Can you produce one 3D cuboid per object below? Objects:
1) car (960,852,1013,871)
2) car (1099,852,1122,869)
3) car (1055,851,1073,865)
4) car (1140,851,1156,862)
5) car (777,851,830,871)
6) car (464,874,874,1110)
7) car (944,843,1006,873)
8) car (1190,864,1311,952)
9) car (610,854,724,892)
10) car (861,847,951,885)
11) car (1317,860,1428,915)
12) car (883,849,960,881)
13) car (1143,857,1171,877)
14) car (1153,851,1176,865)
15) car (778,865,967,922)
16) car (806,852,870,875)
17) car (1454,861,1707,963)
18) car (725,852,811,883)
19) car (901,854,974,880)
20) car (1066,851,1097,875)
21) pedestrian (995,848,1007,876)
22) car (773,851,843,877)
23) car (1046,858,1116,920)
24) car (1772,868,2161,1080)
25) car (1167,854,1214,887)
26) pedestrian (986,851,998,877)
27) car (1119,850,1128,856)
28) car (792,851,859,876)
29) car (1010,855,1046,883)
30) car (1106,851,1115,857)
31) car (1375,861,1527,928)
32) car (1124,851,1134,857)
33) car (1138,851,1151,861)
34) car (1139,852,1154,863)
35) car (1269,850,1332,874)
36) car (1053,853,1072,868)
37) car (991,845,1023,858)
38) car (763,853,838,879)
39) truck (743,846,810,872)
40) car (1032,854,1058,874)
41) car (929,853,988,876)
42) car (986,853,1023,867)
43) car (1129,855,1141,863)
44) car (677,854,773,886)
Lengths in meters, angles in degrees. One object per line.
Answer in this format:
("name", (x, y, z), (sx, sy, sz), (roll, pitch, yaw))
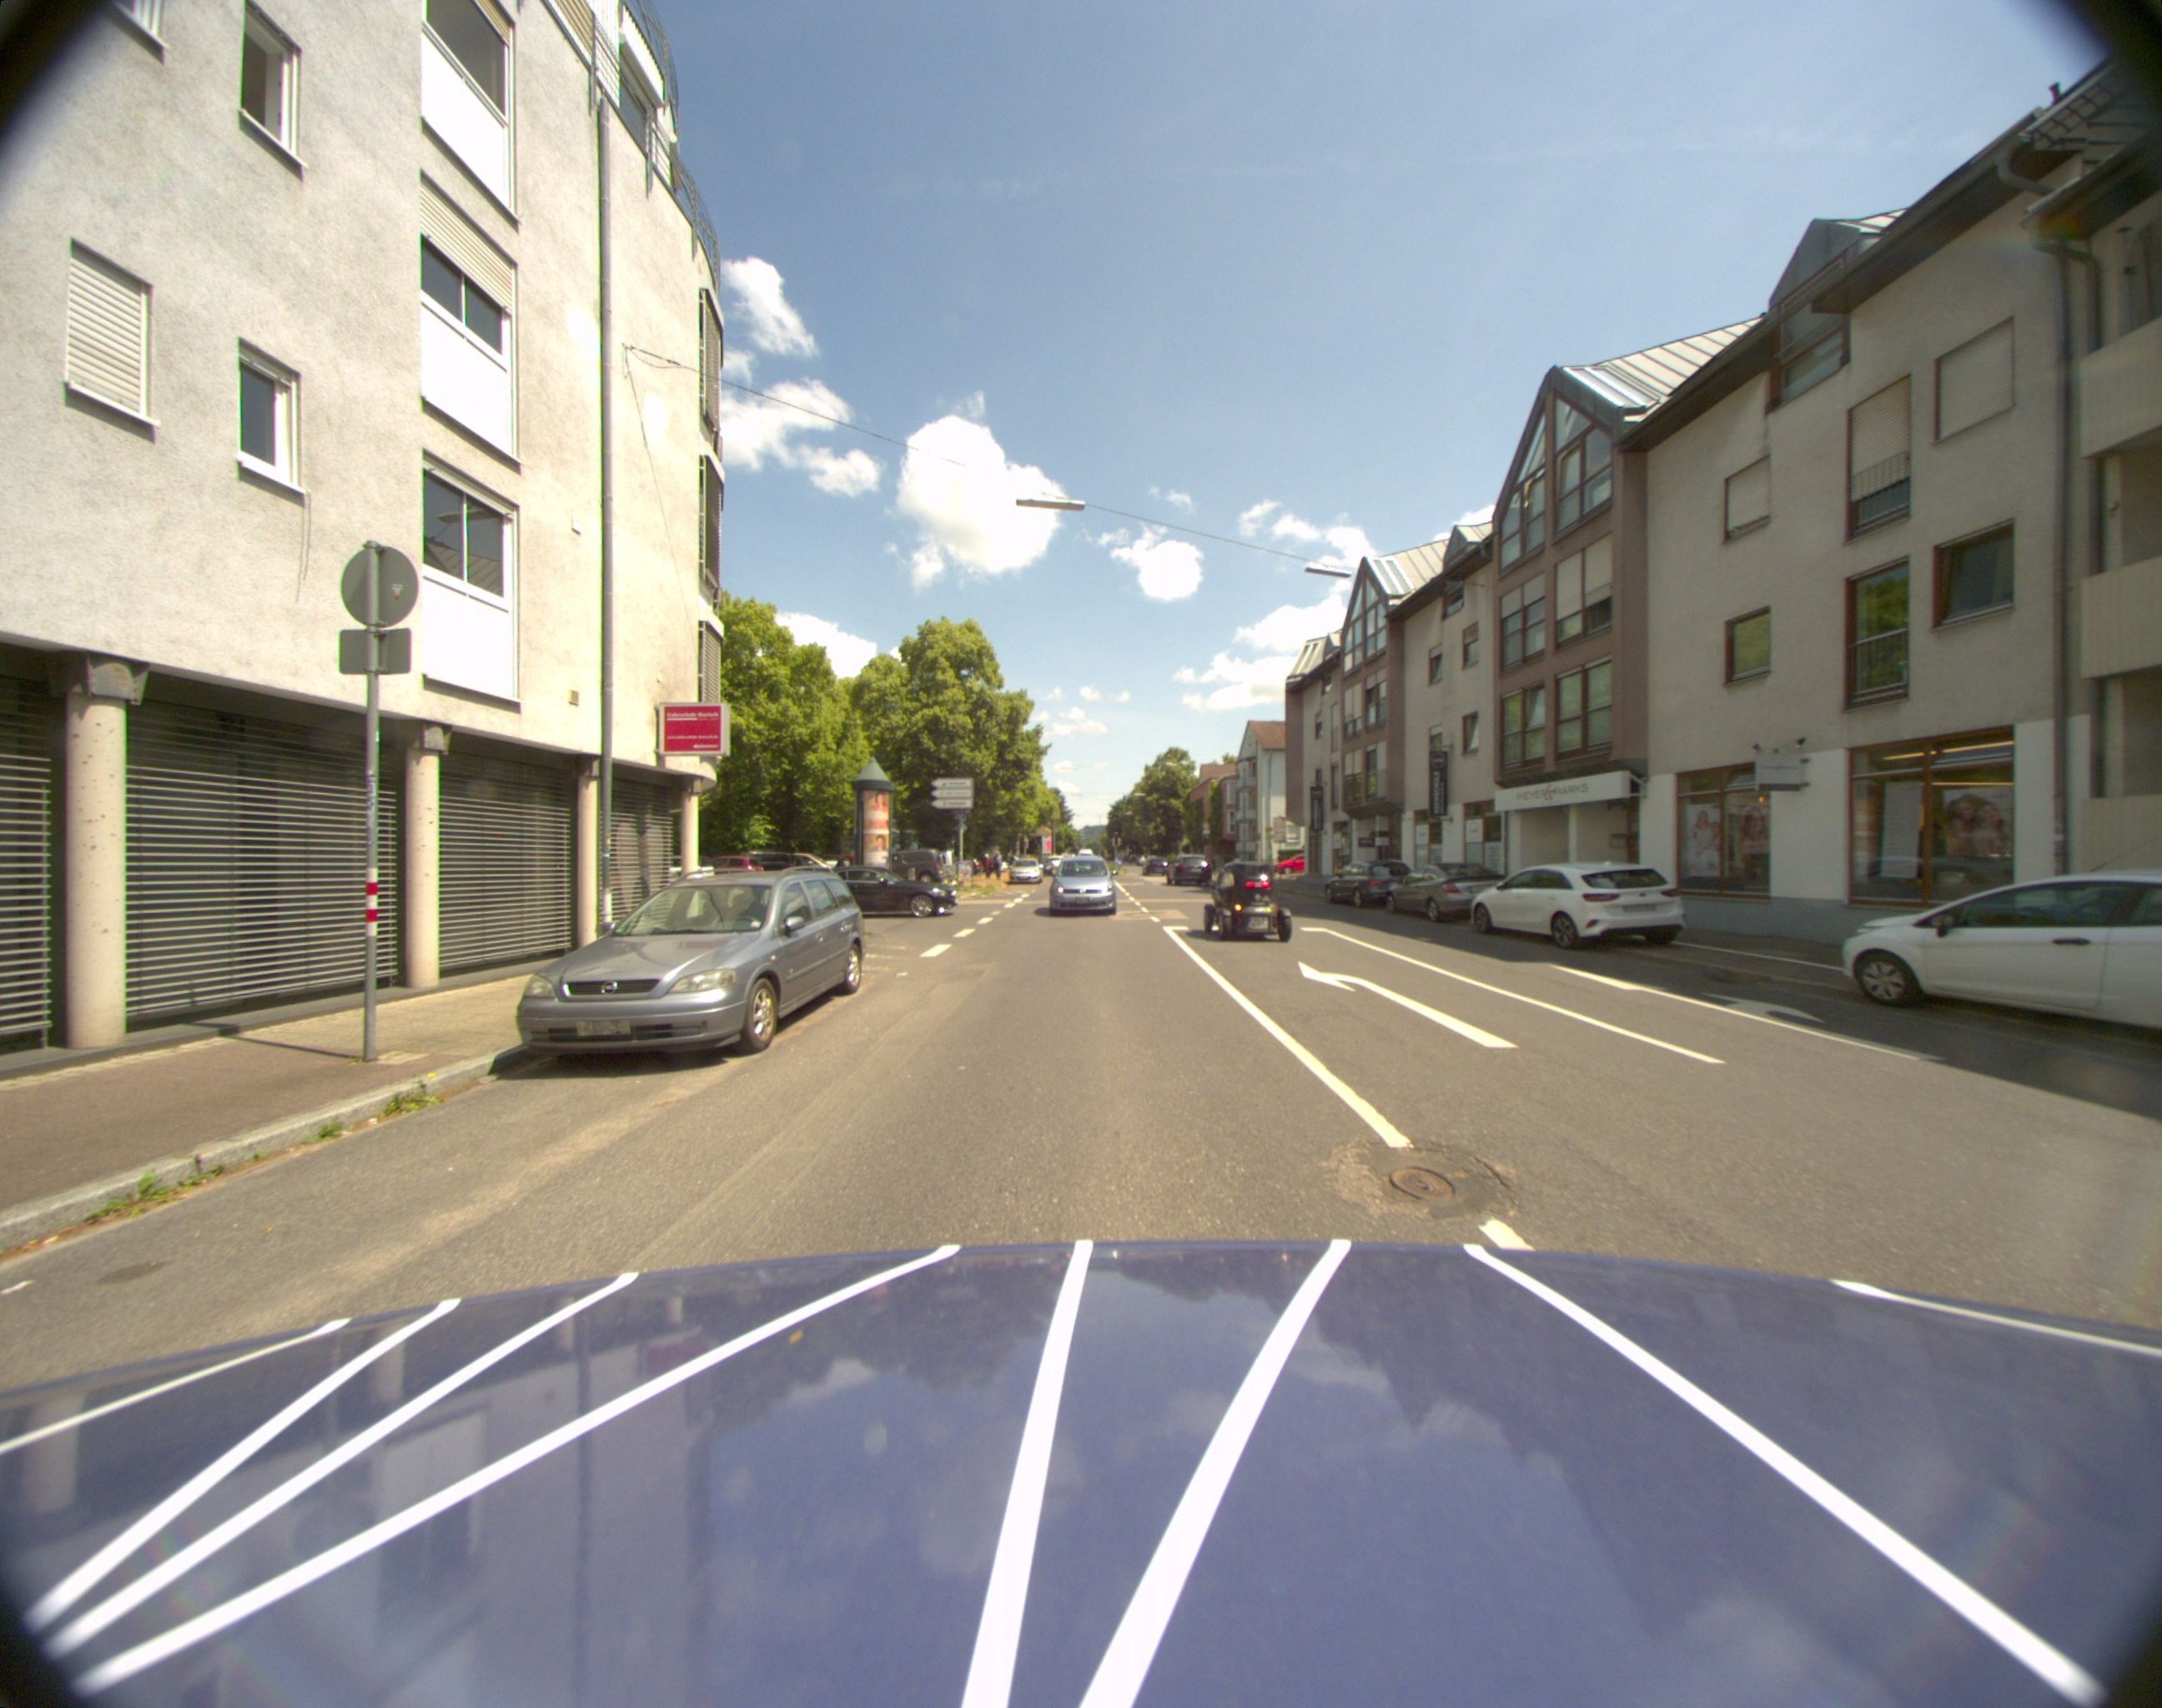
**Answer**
("car", (-8.165, 0.647, 65.968), (4.336, 1.485, 1.808), (-2, 1, -1))
("car", (2.672, 0.576, 70.084), (1.868, 1.516, 4.291), (-1, 0, -1))
("car", (-1.969, 0.444, 87.236), (1.867, 1.516, 4.208), (-1, 0, 1))
("car", (9.036, 0.362, 103.089), (1.752, 1.434, 3.999), (-1, 0, -1))
("car", (-23.280, 0.569, 63.746), (3.806, 1.579, 1.738), (1, 1, 3))
("car", (-3.389, 1.004, 7.299), (1.682, 1.446, 4.142), (-2, 0, -1))
("car", (-8.655, 0.291, 62.251), (4.614, 2.263, 2.106), (-2, 1, 1))
("car", (3.074, 0.933, 14.263), (1.501, 1.450, 2.721), (0, 0, -4))
("car", (-17.888, 0.790, 32.921), (3.997, 1.545, 1.680), (1, 1, -2))
("car", (-8.656, 0.567, 37.943), (3.997, 1.741, 2.016), (-1, 1, 0))
("car", (9.357, 1.000, 24.867), (1.844, 1.439, 4.969), (-3, 1, 2))
("car", (-8.440, 0.554, 40.402), (3.774, 1.657, 1.663), (0, 1, -4))
("car", (5.879, 0.999, 59.141), (1.747, 1.411, 4.222), (2, 0, 0))
("car", (9.173, 0.413, 83.514), (1.891, 1.531, 4.567), (0, 0, -1))
("car", (-5.573, 1.039, 20.804), (4.593, 1.357, 2.000), (-1, 0, -1))
("car", (-17.453, 0.688, 54.765), (3.996, 1.577, 1.804), (1, 1, 2))
("car", (9.078, 0.953, 14.365), (1.844, 1.480, 4.386), (-3, 1, 0))
("car", (-17.153, 0.728, 41.777), (3.998, 1.669, 1.701), (0, 1, -3))
("car", (-8.560, 0.761, 45.575), (3.997, 1.390, 1.807), (-1, 1, -1))
("car", (0.095, 0.590, 54.640), (1.998, 1.652, 4.626), (0, 1, 3))
("pedestrian", (-4.926, 0.486, 47.002), (0.618, 1.754, 0.737), (-1, 1, 0))
("car", (-17.724, 0.618, 49.436), (3.997, 1.631, 1.680), (1, 1, -2))
("car", (0.025, 0.890, 21.275), (1.747, 1.513, 4.223), (0, 0, 1))
("car", (9.257, 0.964, 6.920), (1.844, 1.480, 4.385), (-3, 1, -1))
("car", (5.756, 0.838, 40.378), (1.817, 1.611, 4.441), (1, 0, 0))
("pedestrian", (-5.516, 0.638, 47.005), (0.618, 1.584, 0.737), (-1, 1, 0))
("car", (9.618, -0.156, 170.494), (1.757, 1.325, 3.607), (-1, 0, -1))
("car", (-17.464, 0.657, 52.010), (3.996, 1.652, 1.804), (1, 1, 2))
("car", (-2.954, 0.807, 43.355), (1.771, 1.476, 3.890), (-1, 1, 0))
("car", (7.004, -0.027, 179.956), (1.752, 1.499, 3.999), (-1, 0, -1))
("car", (9.352, 0.944, 19.646), (1.844, 1.376, 4.326), (-3, 1, 1))
("car", (9.797, 0.008, 154.571), (1.757, 1.325, 3.607), (-1, 0, -1))
("car", (9.569, 0.241, 114.771), (1.572, 1.499, 3.999), (-1, 0, -1))
("car", (9.485, 0.518, 109.609), (1.752, 1.499, 3.999), (-1, 0, -1))
("car", (15.826, 0.586, 54.915), (3.997, 1.443, 1.733), (-4, -1, -1))
("car", (-1.878, 0.657, 79.731), (1.721, 1.434, 4.111), (-2, 0, 2))
("car", (-8.901, -0.335, 91.793), (3.762, 1.518, 1.853), (0, 0, -3))
("car", (-17.246, 0.730, 46.801), (3.997, 1.475, 1.680), (1, 1, -2))
("truck", (-21.986, 0.351, 54.955), (4.130, 1.804, 1.879), (0, 1, 3))
("car", (-2.728, 0.754, 58.034), (1.667, 1.420, 4.000), (-1, 0, 1))
("car", (-8.993, 0.764, 56.092), (3.996, 1.464, 1.717), (-2, 1, 2))
("car", (-8.037, 0.601, 79.744), (3.849, 1.350, 1.628), (-1, 1, -8))
("car", (9.484, 0.849, 132.549), (1.757, 1.325, 3.607), (-1, 0, -1))
("car", (-17.805, 0.780, 38.084), (3.997, 1.520, 1.680), (1, 1, -2))
